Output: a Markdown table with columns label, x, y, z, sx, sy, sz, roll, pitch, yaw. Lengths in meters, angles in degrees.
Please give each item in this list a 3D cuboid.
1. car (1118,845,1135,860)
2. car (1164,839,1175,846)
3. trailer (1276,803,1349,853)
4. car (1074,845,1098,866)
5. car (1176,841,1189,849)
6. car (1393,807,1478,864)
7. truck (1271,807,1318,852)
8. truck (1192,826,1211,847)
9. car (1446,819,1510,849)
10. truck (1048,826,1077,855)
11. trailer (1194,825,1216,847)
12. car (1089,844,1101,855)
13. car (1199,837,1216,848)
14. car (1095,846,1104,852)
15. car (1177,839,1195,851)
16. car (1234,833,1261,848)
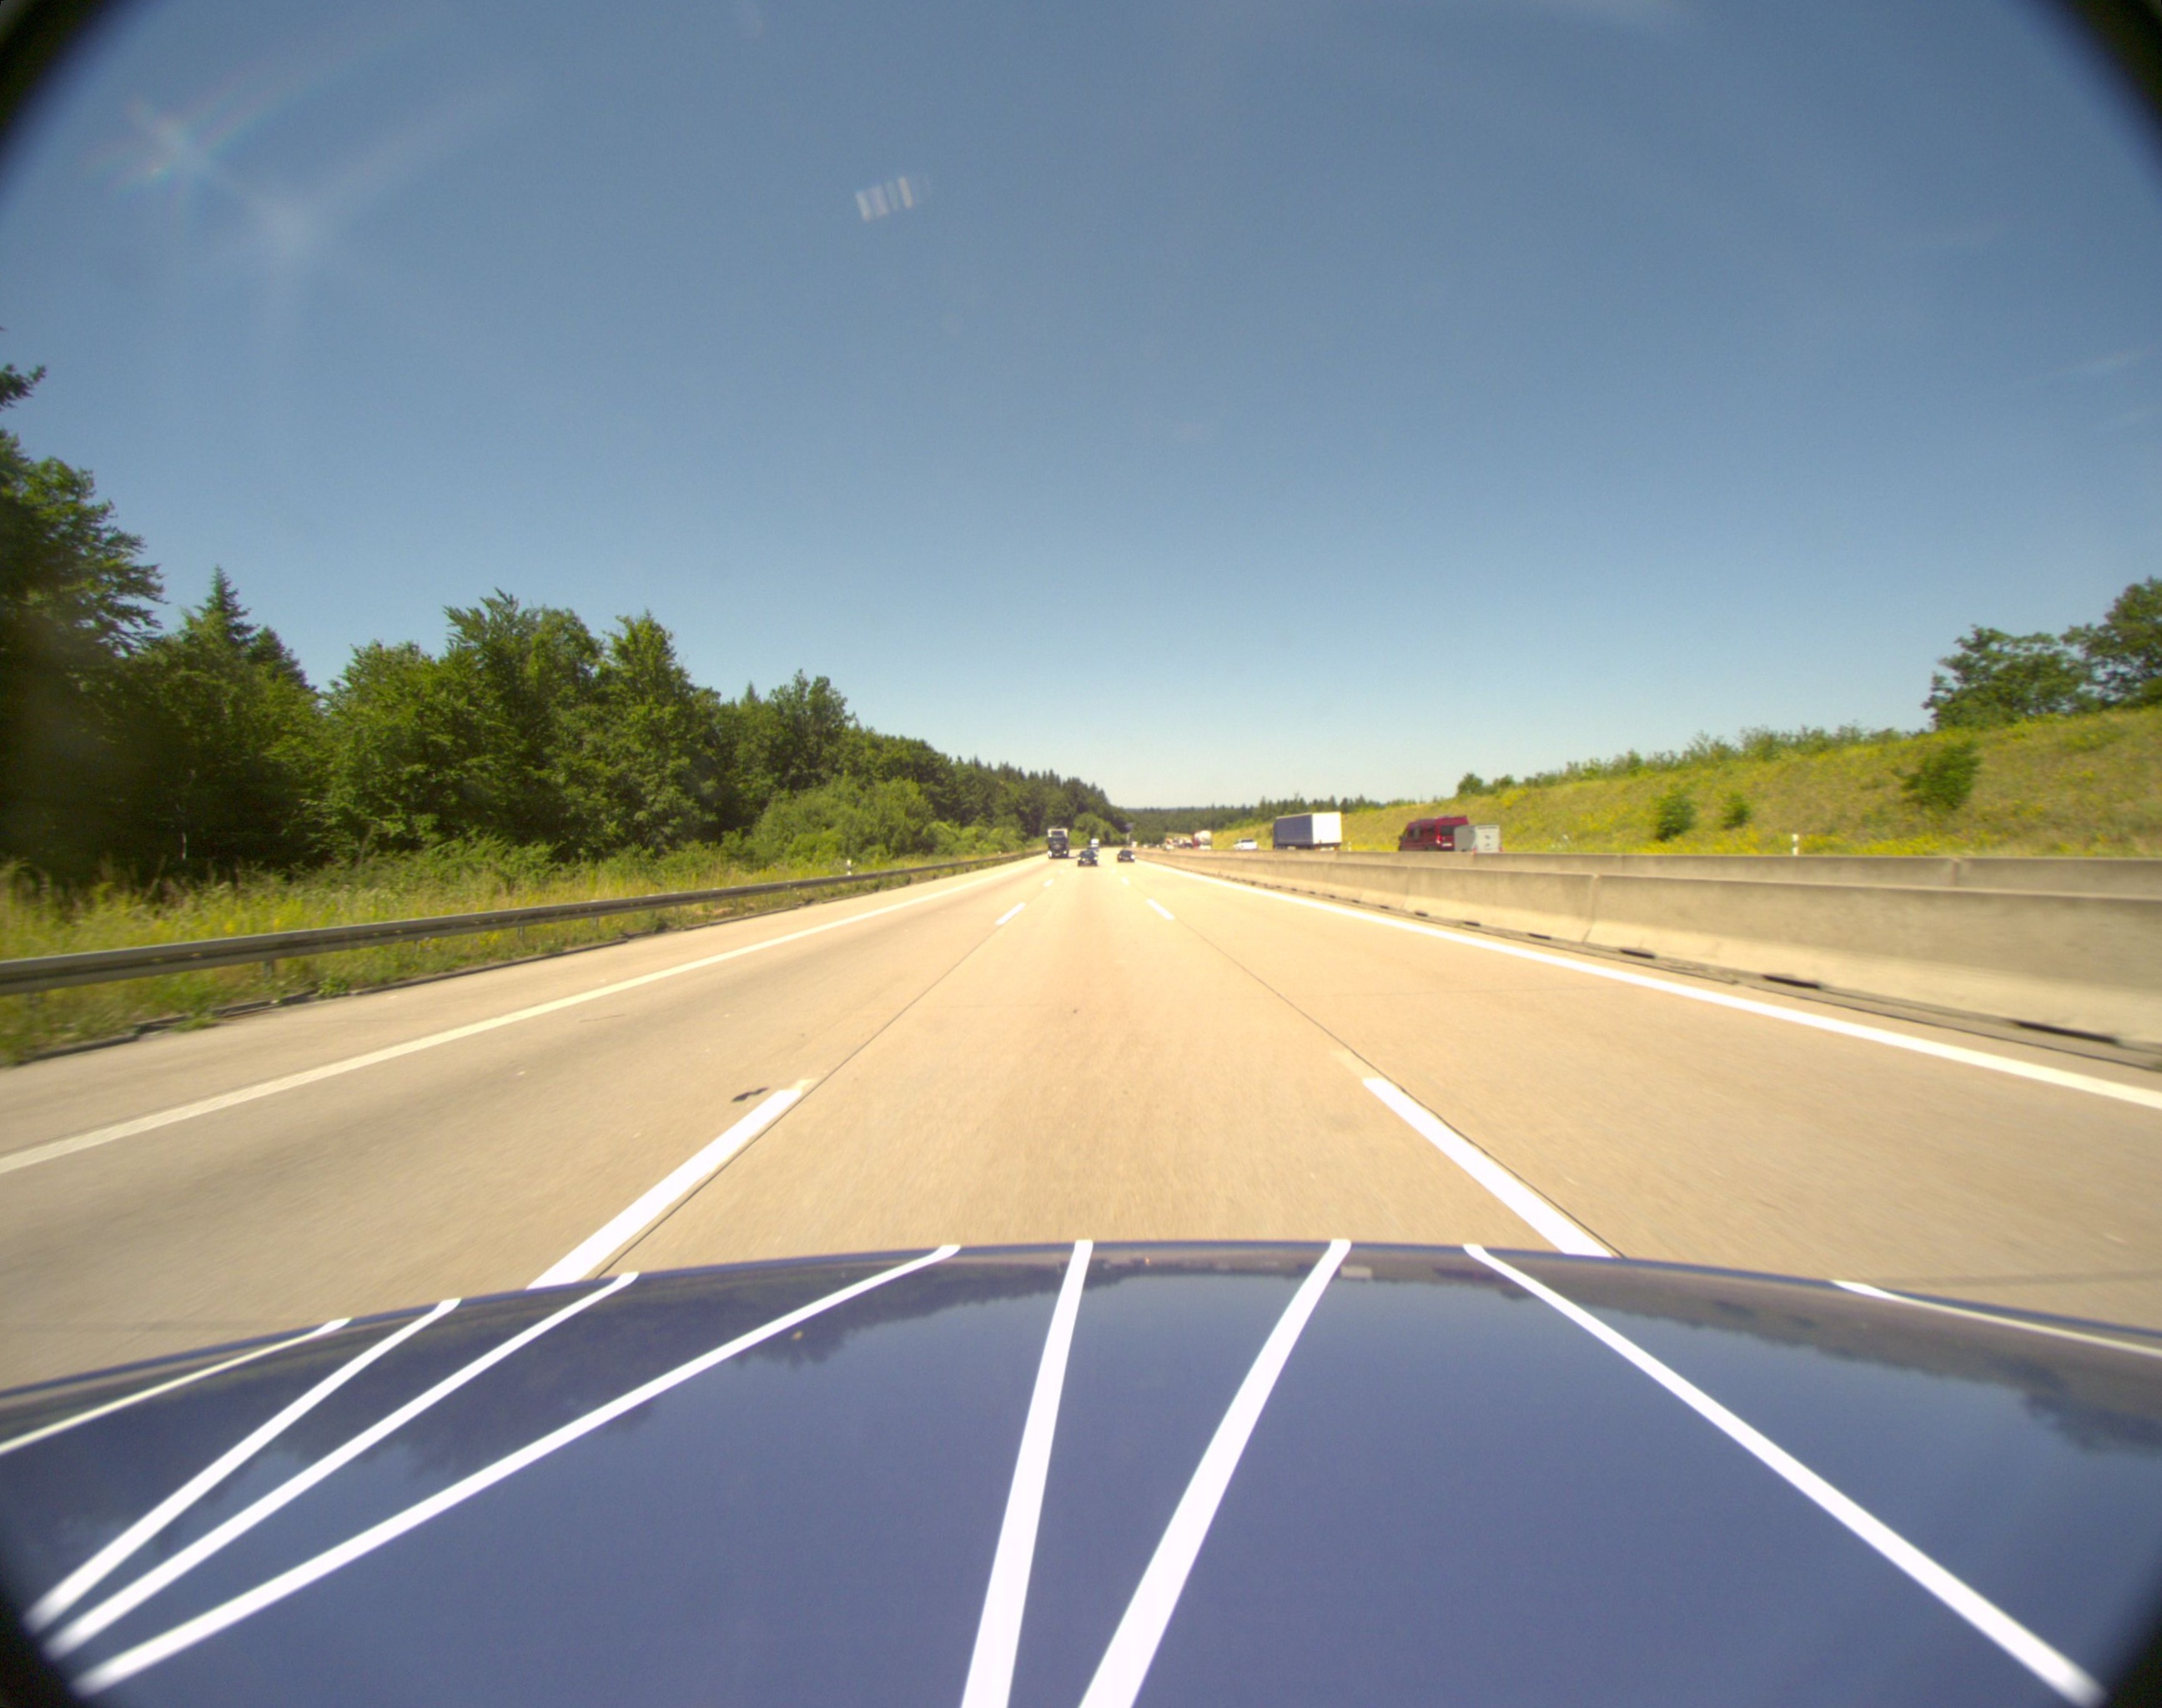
| label | x | y | z | sx | sy | sz | roll | pitch | yaw |
| --- | --- | --- | --- | --- | --- | --- | --- | --- | --- |
| car | 5.018 | -0.222 | 83.539 | 1.842 | 1.547 | 4.000 | -2 | 1 | 3 |
| car | 20.433 | -2.659 | 175.381 | 1.998 | 1.574 | 4.179 | -1 | 1 | 1 |
| trailer | 22.741 | -2.475 | 75.616 | 3.264 | 4.479 | 13.736 | -2 | 1 | 1 |
| car | 0.487 | 0.119 | 68.614 | 1.930 | 1.694 | 4.399 | -2 | 1 | 2 |
| car | 19.317 | -1.757 | 144.934 | 1.998 | 1.574 | 4.429 | -1 | 1 | 1 |
| car | 21.830 | -1.114 | 47.193 | 1.998 | 3.223 | 7.059 | -1 | 1 | 1 |
| truck | 22.854 | -2.591 | 81.592 | 3.264 | 4.479 | 6.573 | -2 | 1 | 1 |
| truck | 24.285 | -3.540 | 153.580 | 2.940 | 4.145 | 5.981 | -2 | 1 | 1 |
| car | 21.837 | -1.078 | 41.937 | 1.618 | 1.591 | 3.576 | 0 | 1 | 1 |
| truck | -2.538 | -1.931 | 107.854 | 3.166 | 3.994 | 10.609 | 0 | 1 | 4 |
| trailer | 24.189 | -3.442 | 148.506 | 2.940 | 4.145 | 9.333 | -2 | 1 | 1 |
| car | 2.445 | -0.825 | 131.238 | 1.998 | 1.694 | 4.399 | -2 | 1 | 2 |
| car | 19.697 | -1.800 | 118.591 | 1.998 | 1.574 | 4.529 | -1 | 1 | 1 |
| car | 4.579 | -1.262 | 189.855 | 1.842 | 1.547 | 4.000 | -2 | 1 | 5 |
| car | 14.906 | -1.254 | 107.863 | 1.998 | 1.574 | 4.402 | -1 | 1 | 1 |
| car | 18.701 | -1.525 | 85.633 | 1.998 | 1.574 | 5.518 | -1 | 1 | 1 |
